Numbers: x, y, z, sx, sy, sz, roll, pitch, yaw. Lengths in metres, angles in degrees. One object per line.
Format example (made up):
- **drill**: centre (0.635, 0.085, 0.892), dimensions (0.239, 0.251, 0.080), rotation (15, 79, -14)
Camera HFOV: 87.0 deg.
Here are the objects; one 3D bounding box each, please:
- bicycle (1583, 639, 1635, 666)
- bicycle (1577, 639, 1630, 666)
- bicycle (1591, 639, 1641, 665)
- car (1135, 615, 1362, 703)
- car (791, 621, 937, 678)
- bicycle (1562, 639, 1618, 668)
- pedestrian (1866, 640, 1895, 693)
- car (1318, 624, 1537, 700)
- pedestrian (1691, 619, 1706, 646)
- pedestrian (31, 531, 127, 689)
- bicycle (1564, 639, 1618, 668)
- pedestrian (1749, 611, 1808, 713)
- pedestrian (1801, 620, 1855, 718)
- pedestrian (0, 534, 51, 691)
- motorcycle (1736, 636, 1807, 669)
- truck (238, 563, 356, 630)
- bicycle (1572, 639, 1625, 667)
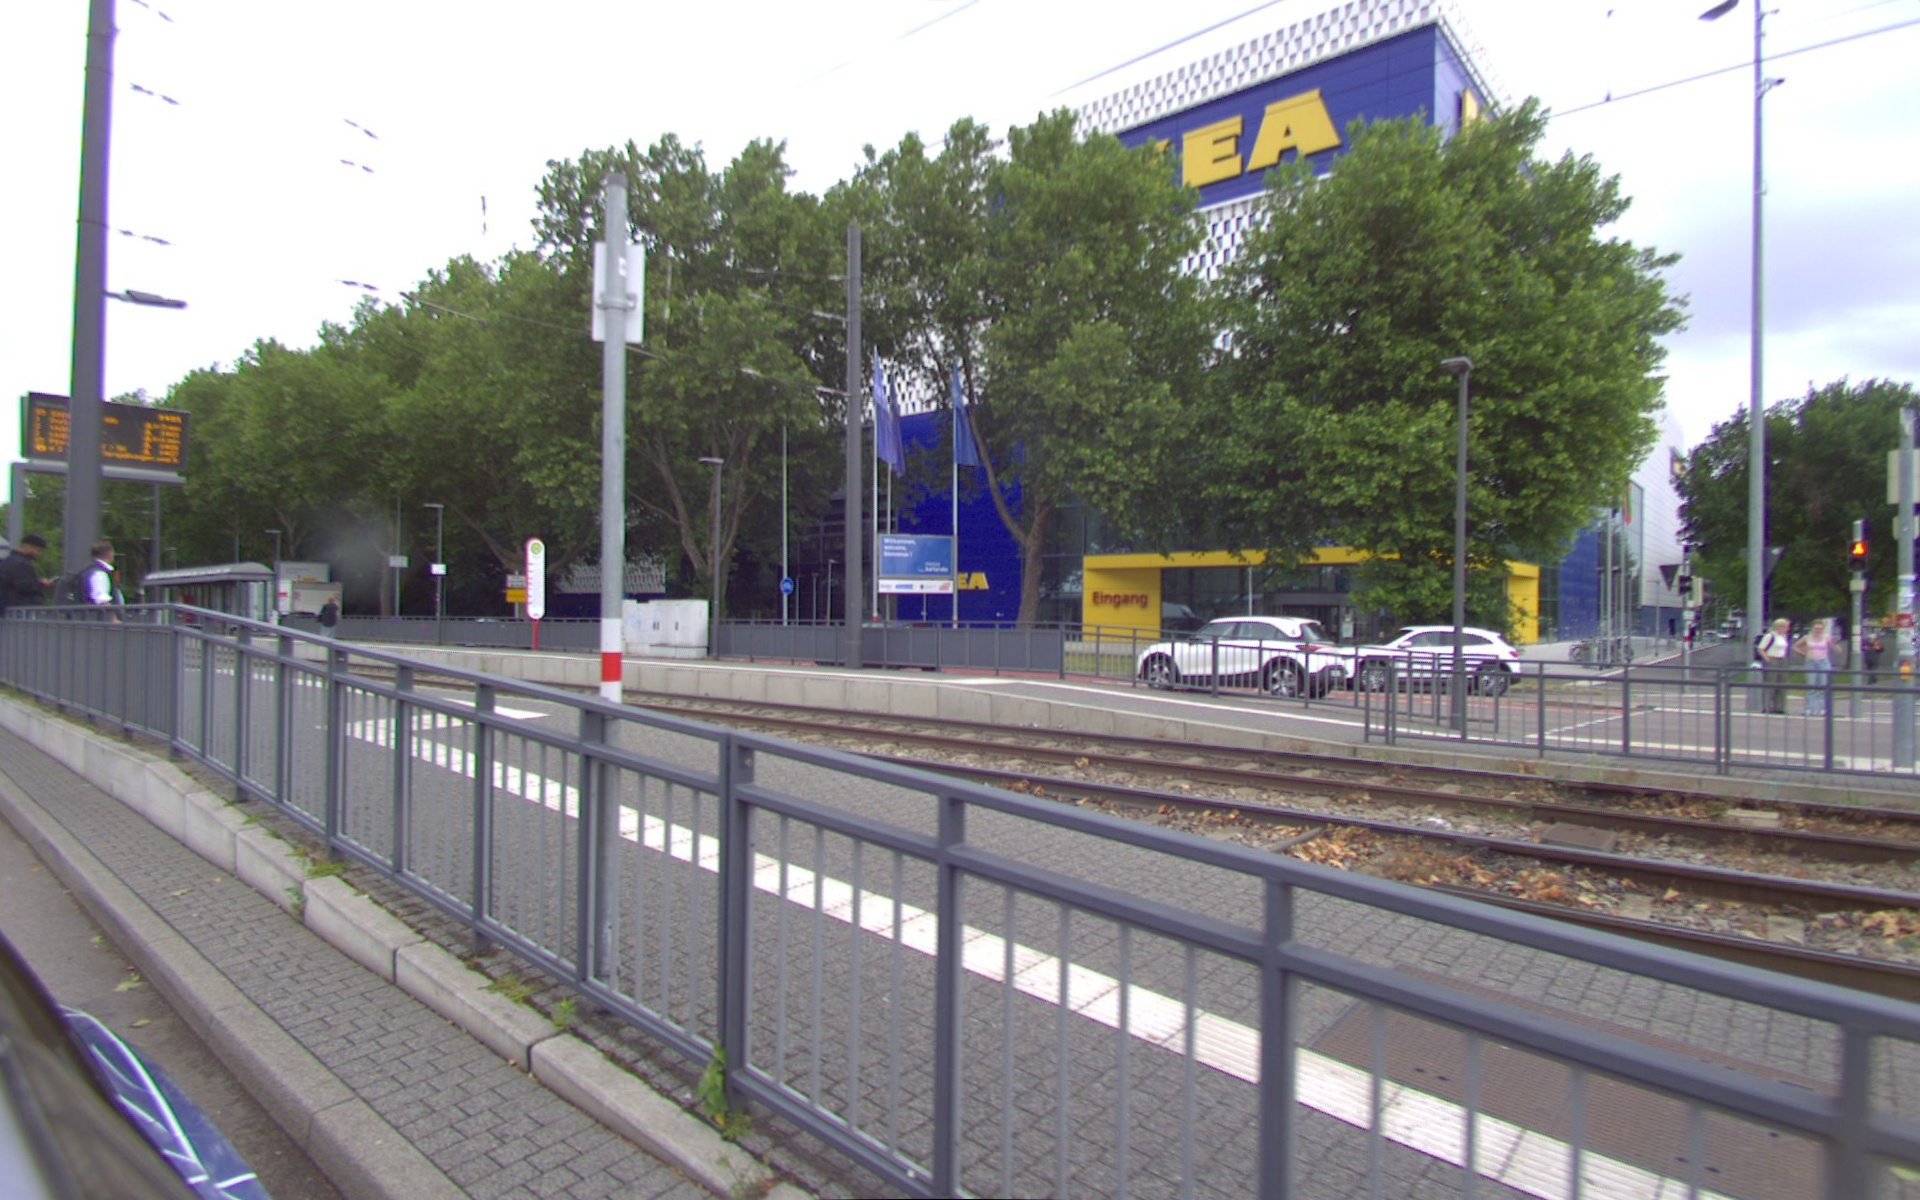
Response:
- **bicycle**: centre (31.357, 2.506, 48.946), dimensions (2.022, 1.165, 0.585), rotation (3, 0, 41)
- **bicycle**: centre (30.537, 2.476, 48.051), dimensions (2.022, 1.165, 0.585), rotation (3, 0, 41)
- **bicycle**: centre (32.384, 2.552, 50.004), dimensions (2.014, 1.165, 0.587), rotation (2, 0, 30)
- **car**: centre (5.894, 1.165, 20.946), dimensions (4.140, 1.598, 1.773), rotation (0, -3, 41)
- **car**: centre (-2.724, 1.334, 28.264), dimensions (3.993, 1.429, 1.705), rotation (0, -1, 37)
- **bicycle**: centre (28.221, 2.397, 45.355), dimensions (2.012, 1.165, 0.588), rotation (2, 0, 27)
- **pedestrian**: centre (29.696, 2.130, 32.654), dimensions (0.634, 1.655, 0.798), rotation (0, -3, 40)
- **car**: centre (11.144, 1.454, 24.389), dimensions (4.357, 1.597, 1.890), rotation (2, -1, 7)
- **pedestrian**: centre (47.674, 2.097, 65.346), dimensions (0.679, 1.759, 0.797), rotation (1, 0, 42)
- **pedestrian**: centre (-9.179, 0.090, 10.549), dimensions (0.633, 1.571, 0.701), rotation (0, 1, 44)
- **bicycle**: centre (28.996, 2.448, 46.508), dimensions (2.022, 1.165, 0.585), rotation (3, 0, 41)
- **pedestrian**: centre (15.164, 1.141, 18.765), dimensions (0.672, 1.811, 0.759), rotation (1, -2, 25)
- **pedestrian**: centre (15.830, 1.235, 18.453), dimensions (0.754, 1.725, 0.676), rotation (3, -2, -44)
- **pedestrian**: centre (-10.905, 0.135, 11.531), dimensions (0.587, 1.755, 0.777), rotation (1, 1, 44)
- **motorcycle**: centre (38.603, 2.490, 48.195), dimensions (2.491, 1.365, 0.792), rotation (3, 0, 31)
- **truck**: centre (-40.388, -0.126, 61.461), dimensions (9.890, 3.691, 3.217), rotation (-1, -3, 41)
- **bicycle**: centre (29.801, 2.444, 47.247), dimensions (2.022, 1.165, 0.585), rotation (3, 0, 41)
